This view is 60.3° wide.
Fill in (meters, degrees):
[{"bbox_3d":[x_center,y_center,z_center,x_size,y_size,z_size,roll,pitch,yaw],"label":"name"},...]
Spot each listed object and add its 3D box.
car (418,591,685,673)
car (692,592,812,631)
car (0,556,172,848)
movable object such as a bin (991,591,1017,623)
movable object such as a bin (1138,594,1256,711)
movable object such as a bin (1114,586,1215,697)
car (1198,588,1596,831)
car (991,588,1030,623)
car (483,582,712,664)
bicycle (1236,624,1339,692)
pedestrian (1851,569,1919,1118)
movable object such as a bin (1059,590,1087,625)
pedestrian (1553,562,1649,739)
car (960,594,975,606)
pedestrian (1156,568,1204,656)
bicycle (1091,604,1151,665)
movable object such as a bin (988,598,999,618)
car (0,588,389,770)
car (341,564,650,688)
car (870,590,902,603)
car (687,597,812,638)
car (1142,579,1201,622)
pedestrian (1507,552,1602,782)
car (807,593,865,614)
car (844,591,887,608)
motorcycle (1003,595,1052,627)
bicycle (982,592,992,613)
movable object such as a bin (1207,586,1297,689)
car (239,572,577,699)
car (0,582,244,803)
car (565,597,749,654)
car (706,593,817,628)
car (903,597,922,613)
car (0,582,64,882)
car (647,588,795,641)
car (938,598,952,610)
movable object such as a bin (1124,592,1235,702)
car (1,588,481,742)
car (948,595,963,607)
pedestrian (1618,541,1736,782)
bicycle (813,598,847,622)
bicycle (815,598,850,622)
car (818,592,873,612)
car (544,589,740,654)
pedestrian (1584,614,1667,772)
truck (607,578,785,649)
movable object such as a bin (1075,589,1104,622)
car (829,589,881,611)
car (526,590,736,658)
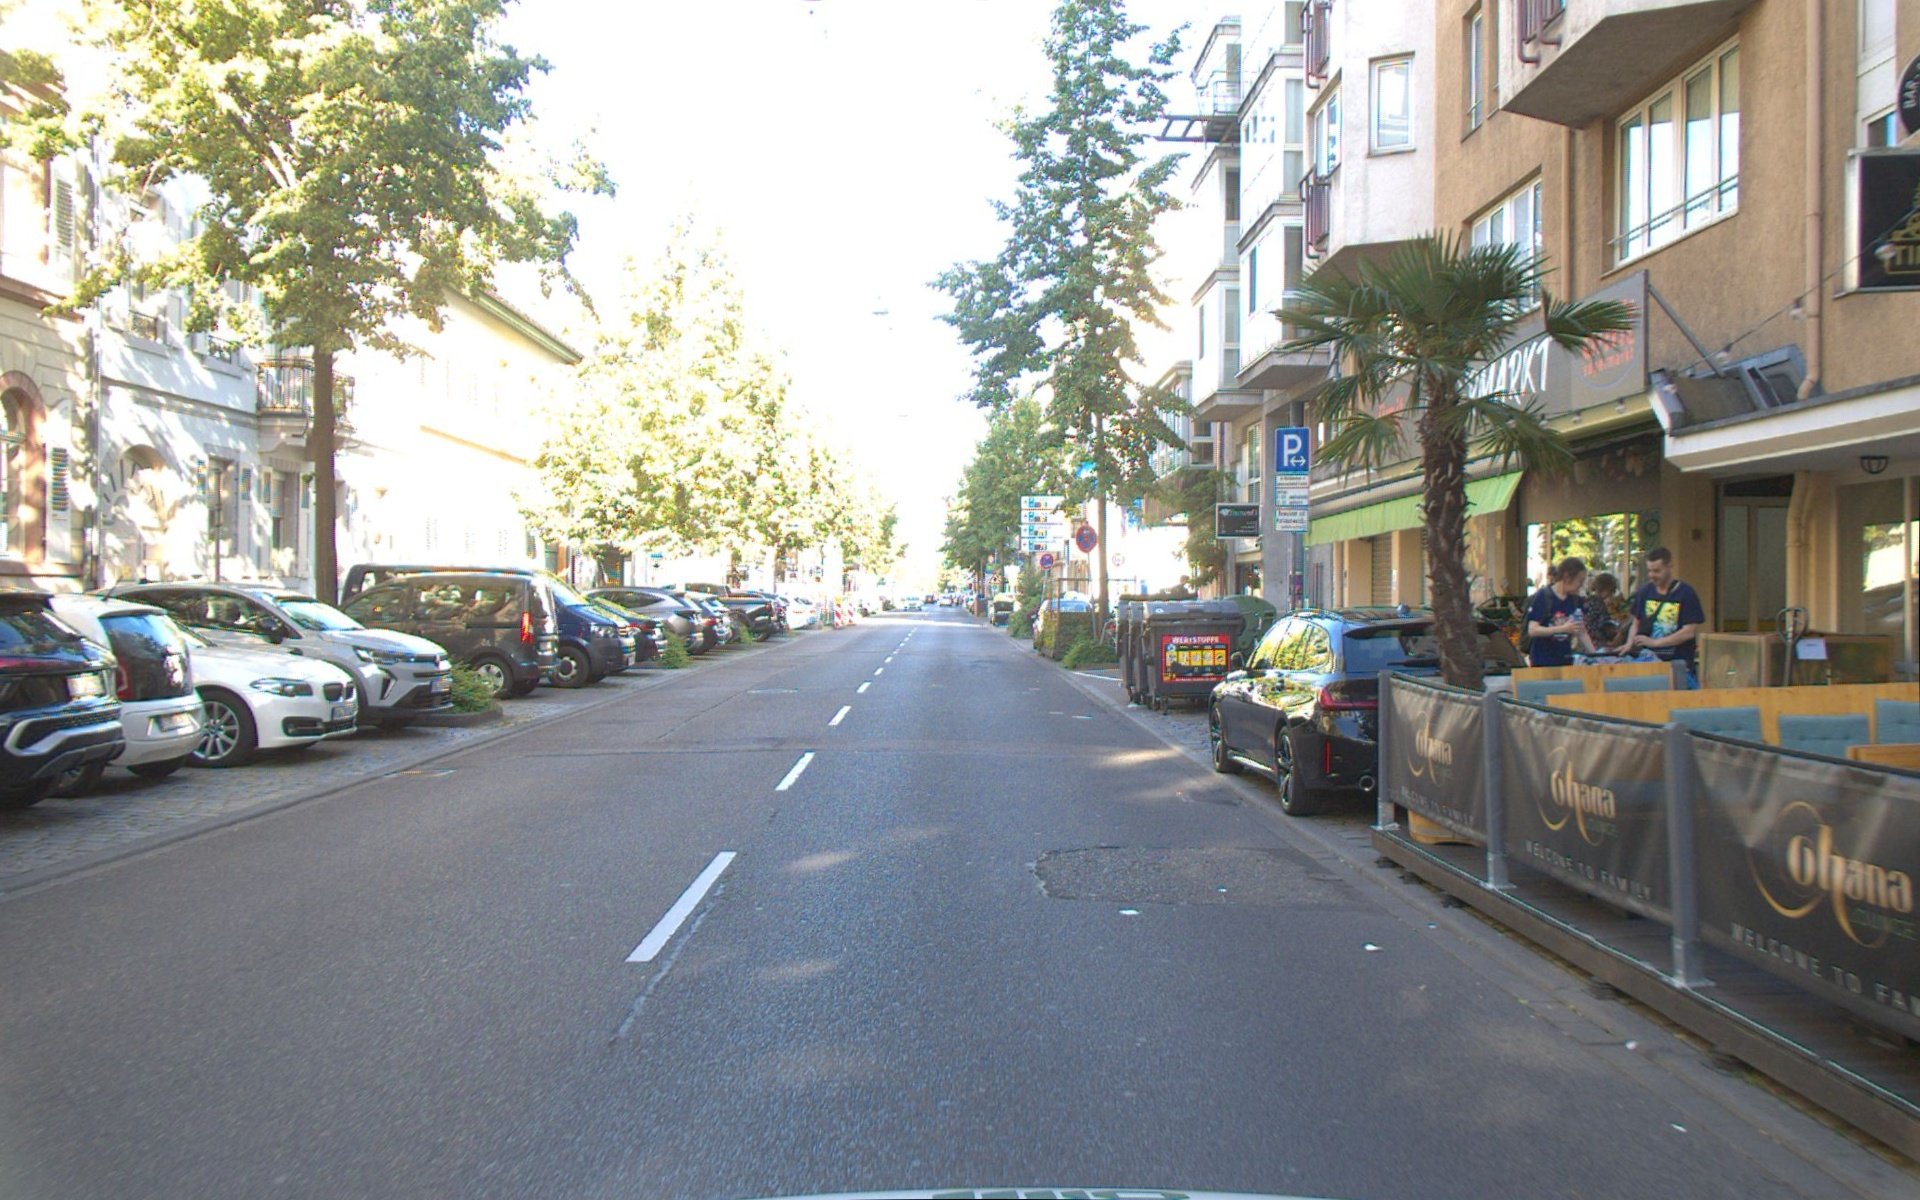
[{"bbox_3d":[-7.565,0.580,30.914,4.551,1.485,1.683,0,0,-1],"label":"car"},{"bbox_3d":[-8.196,0.448,65.438,4.588,1.491,1.807,0,0,-4],"label":"car"},{"bbox_3d":[-7.725,0.598,10.761,4.251,1.739,1.916,0,0,-1],"label":"car"},{"bbox_3d":[2.204,0.334,82.364,1.118,1.589,1.460,-1,0,7],"label":"movable object such as a bin"},{"bbox_3d":[3.112,0.671,21.848,1.370,1.479,1.146,-1,0,-1],"label":"movable object such as a bin"},{"bbox_3d":[2.971,0.592,24.173,1.303,1.569,1.146,-1,0,-1],"label":"movable object such as a bin"},{"bbox_3d":[3.218,0.704,13.289,1.785,1.497,4.911,-3,0,-1],"label":"car"},{"bbox_3d":[2.624,0.267,86.687,1.785,1.708,4.600,-3,0,0],"label":"car"},{"bbox_3d":[-7.867,0.488,36.203,4.584,1.742,1.808,0,0,1],"label":"car"},{"bbox_3d":[4.468,0.792,22.693,0.561,0.887,1.630,-1,-1,-23],"label":"bicycle"},{"bbox_3d":[3.048,0.690,4.536,0.637,1.563,0.979,-1,0,-2],"label":"pedestrian"},{"bbox_3d":[5.438,0.375,79.845,1.181,1.656,1.497,-1,0,-2],"label":"movable object such as a bin"},{"bbox_3d":[6.223,0.480,16.085,0.604,1.670,0.762,-1,0,-1],"label":"pedestrian"},{"bbox_3d":[1.021,-0.001,219.550,1.953,1.534,3.999,0,0,-1],"label":"car"},{"bbox_3d":[4.984,0.260,37.449,0.906,1.969,0.761,-1,0,24],"label":"pedestrian"},{"bbox_3d":[3.329,0.698,34.385,0.596,1.139,2.051,-7,1,-9],"label":"bicycle"},{"bbox_3d":[1.987,0.467,99.477,0.609,1.200,0.711,-1,0,-3],"label":"movable object such as a bin"},{"bbox_3d":[-7.766,0.678,15.176,4.376,1.568,1.916,0,0,-2],"label":"car"},{"bbox_3d":[-7.667,0.416,27.602,4.584,1.984,1.917,0,0,1],"label":"car"},{"bbox_3d":[-8.994,-0.422,200.880,3.906,1.526,1.999,-1,0,-2],"label":"car"},{"bbox_3d":[-7.945,0.652,62.706,4.588,1.491,1.807,0,0,-4],"label":"car"},{"bbox_3d":[8.611,0.015,67.663,1.862,1.677,4.294,-1,0,1],"label":"car"},{"bbox_3d":[4.609,0.504,12.850,0.603,1.725,0.763,-1,0,15],"label":"pedestrian"},{"bbox_3d":[-8.562,0.241,114.446,3.906,1.414,1.999,-1,0,-2],"label":"car"},{"bbox_3d":[-8.895,-0.037,155.908,3.906,1.526,1.999,-1,0,-2],"label":"car"},{"bbox_3d":[2.925,0.457,72.039,1.943,1.353,0.909,-1,0,-13],"label":"motorcycle"},{"bbox_3d":[1.942,0.192,118.524,0.549,1.465,1.628,-6,0,-1],"label":"bicycle"},{"bbox_3d":[4.252,0.530,24.178,1.055,1.456,1.295,-1,0,-1],"label":"movable object such as a bin"},{"bbox_3d":[-8.140,0.508,24.685,4.374,1.803,1.917,0,0,1],"label":"car"},{"bbox_3d":[-8.119,0.667,12.905,4.251,1.609,1.808,0,0,-1],"label":"car"},{"bbox_3d":[-8.075,0.661,44.334,4.584,1.488,1.808,0,0,1],"label":"car"},{"bbox_3d":[-8.410,0.449,70.536,4.588,1.437,1.807,0,0,-4],"label":"car"},{"bbox_3d":[-4.749,0.517,165.690,1.766,1.460,4.408,-3,0,-2],"label":"car"},{"bbox_3d":[-7.202,0.681,8.281,4.374,1.568,1.917,0,0,1],"label":"car"},{"bbox_3d":[-7.859,0.475,54.656,4.584,1.723,1.808,0,0,1],"label":"car"},{"bbox_3d":[-1.984,0.539,220.364,1.756,1.436,3.999,-1,1,-1],"label":"car"},{"bbox_3d":[3.031,0.632,23.010,1.370,1.479,1.146,-1,0,-1],"label":"movable object such as a bin"},{"bbox_3d":[-7.690,0.663,17.981,4.373,1.568,1.917,0,0,3],"label":"car"},{"bbox_3d":[-0.551,0.163,215.416,1.785,1.415,4.299,-3,0,-2],"label":"car"},{"bbox_3d":[5.308,0.436,12.249,0.498,1.725,0.622,-1,0,-37],"label":"pedestrian"},{"bbox_3d":[-7.018,0.520,89.332,1.820,1.274,0.599,1,0,-9],"label":"bicycle"},{"bbox_3d":[-6.799,0.549,88.321,1.820,1.274,0.599,1,0,-9],"label":"bicycle"},{"bbox_3d":[-8.305,0.150,120.237,3.906,1.414,1.999,-1,0,-2],"label":"car"},{"bbox_3d":[-8.025,0.540,42.005,4.584,1.599,1.808,0,0,1],"label":"car"},{"bbox_3d":[5.158,0.709,12.811,0.436,1.183,0.498,-1,0,43],"label":"pedestrian"},{"bbox_3d":[-7.817,0.393,49.379,4.982,1.972,1.999,-1,0,-2],"label":"truck"},{"bbox_3d":[6.143,0.251,78.488,1.245,1.557,1.176,-1,0,-2],"label":"movable object such as a bin"},{"bbox_3d":[-8.413,-0.013,133.147,3.903,1.724,2.001,-1,0,4],"label":"car"},{"bbox_3d":[-7.745,0.556,39.221,4.584,1.546,1.808,0,0,1],"label":"car"}]
